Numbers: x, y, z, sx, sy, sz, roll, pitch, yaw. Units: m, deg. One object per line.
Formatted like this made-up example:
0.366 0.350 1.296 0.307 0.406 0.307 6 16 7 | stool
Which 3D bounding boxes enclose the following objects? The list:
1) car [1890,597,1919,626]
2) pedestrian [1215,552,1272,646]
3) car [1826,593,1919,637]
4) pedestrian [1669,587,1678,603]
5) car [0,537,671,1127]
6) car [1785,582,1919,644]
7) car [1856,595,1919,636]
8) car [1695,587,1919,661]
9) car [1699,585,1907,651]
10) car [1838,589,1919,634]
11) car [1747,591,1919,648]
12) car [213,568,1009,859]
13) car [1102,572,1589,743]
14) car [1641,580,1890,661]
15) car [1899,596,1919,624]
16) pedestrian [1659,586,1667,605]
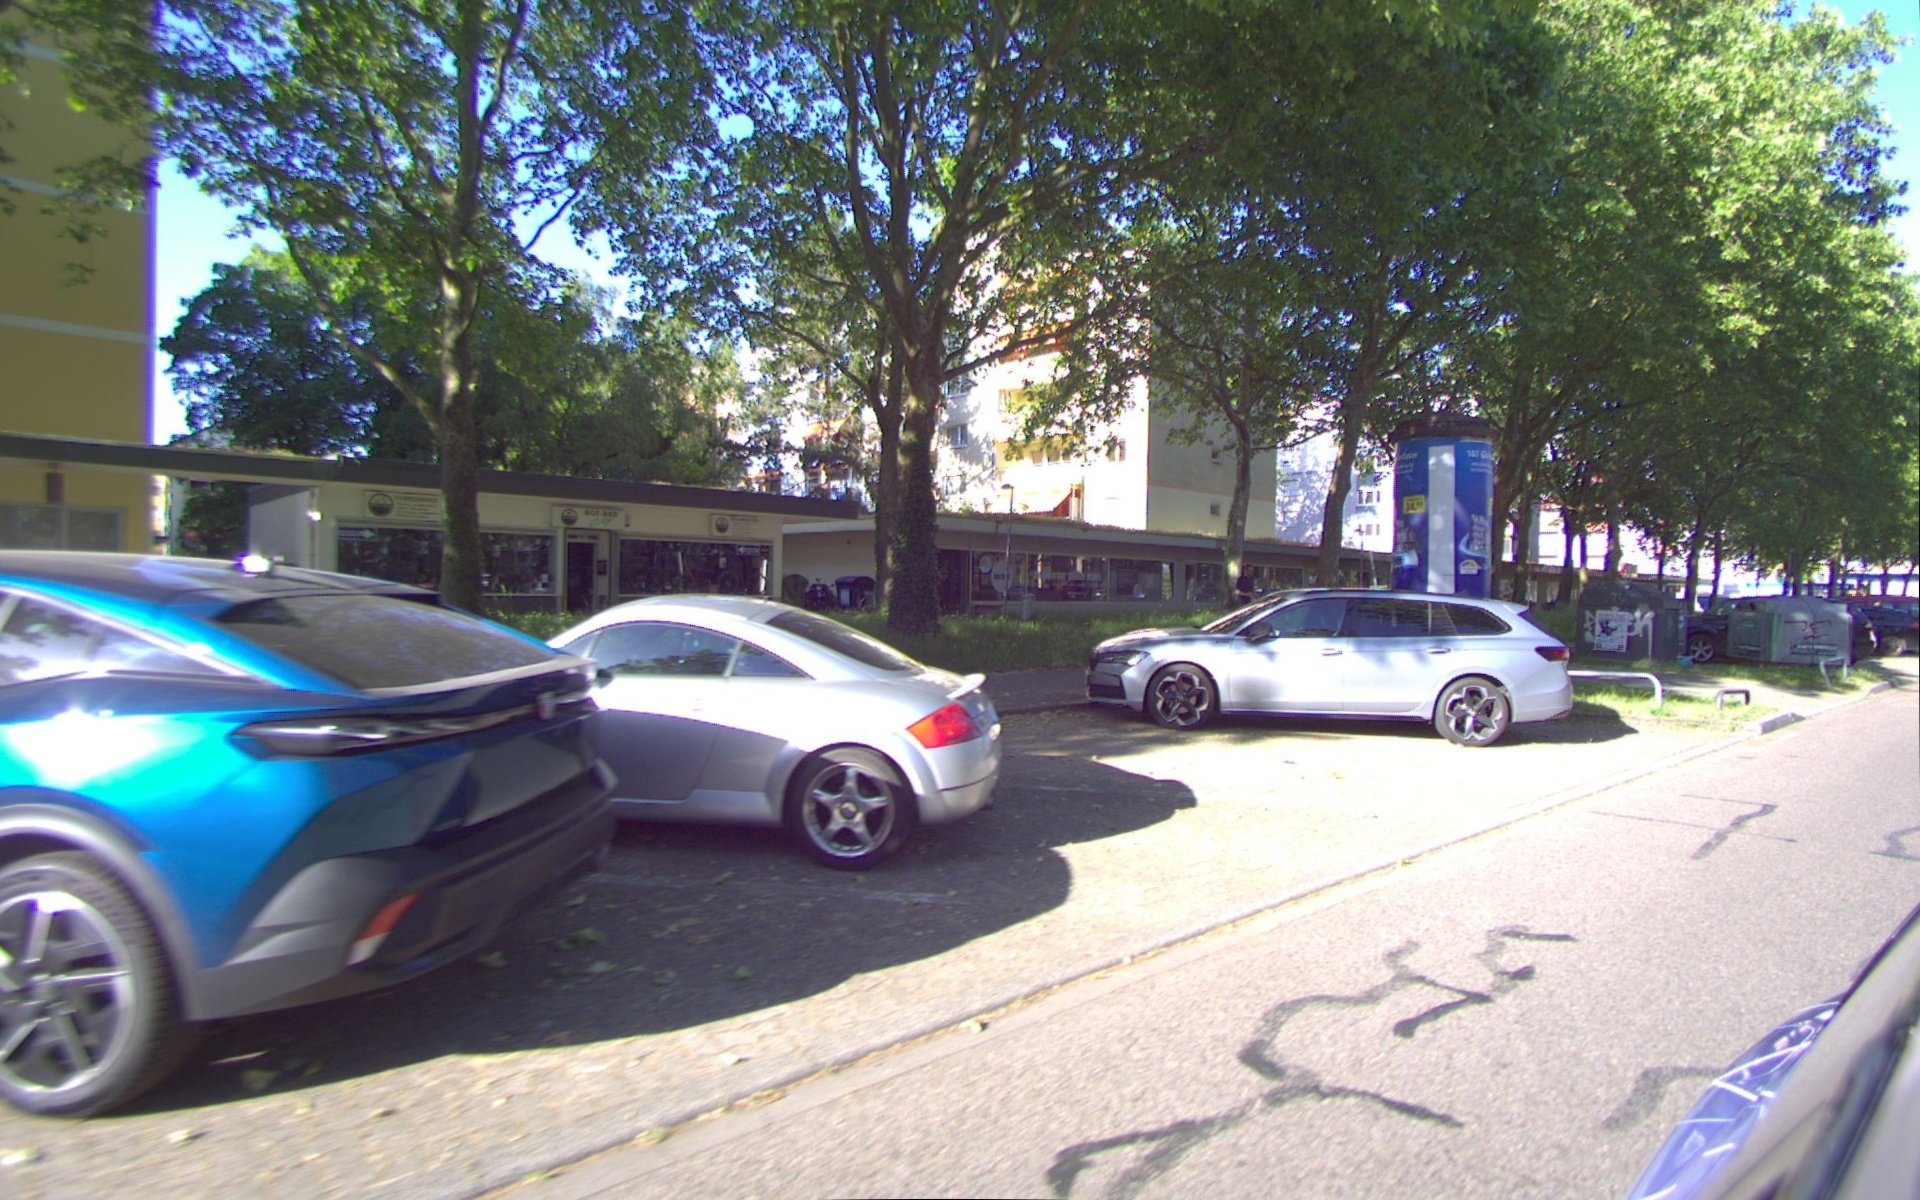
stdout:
49.950 0.640 51.286 3.871 1.390 1.585 2 2 7 | car
6.069 -0.034 21.642 0.872 1.938 0.858 2 1 41 | pedestrian
34.557 0.554 37.356 3.562 1.466 1.650 2 2 4 | car
65.930 -0.444 93.558 0.531 1.448 0.704 2 0 44 | pedestrian
-3.469 0.498 3.700 4.255 1.442 1.854 2 2 7 | car
29.542 0.411 32.743 4.020 1.833 1.647 2 2 10 | car
37.654 0.621 39.433 3.722 1.488 1.649 2 2 7 | car
21.288 0.552 25.489 4.027 1.601 1.773 2 2 16 | car
23.323 0.463 28.135 4.016 1.601 1.778 2 2 8 | car
39.512 0.486 42.179 3.962 1.726 1.757 2 2 9 | car
26.454 0.557 30.396 4.025 1.499 1.644 2 2 14 | car
-1.892 0.532 6.134 4.255 1.313 1.689 2 2 7 | car
3.790 0.510 10.714 4.416 1.461 1.854 2 2 7 | car
18.797 0.441 23.817 4.253 1.738 1.631 1 1 11 | car
53.028 0.605 53.899 4.113 1.429 1.718 2 2 7 | car
64.987 -0.436 93.544 0.495 1.721 0.704 2 0 44 | pedestrian
